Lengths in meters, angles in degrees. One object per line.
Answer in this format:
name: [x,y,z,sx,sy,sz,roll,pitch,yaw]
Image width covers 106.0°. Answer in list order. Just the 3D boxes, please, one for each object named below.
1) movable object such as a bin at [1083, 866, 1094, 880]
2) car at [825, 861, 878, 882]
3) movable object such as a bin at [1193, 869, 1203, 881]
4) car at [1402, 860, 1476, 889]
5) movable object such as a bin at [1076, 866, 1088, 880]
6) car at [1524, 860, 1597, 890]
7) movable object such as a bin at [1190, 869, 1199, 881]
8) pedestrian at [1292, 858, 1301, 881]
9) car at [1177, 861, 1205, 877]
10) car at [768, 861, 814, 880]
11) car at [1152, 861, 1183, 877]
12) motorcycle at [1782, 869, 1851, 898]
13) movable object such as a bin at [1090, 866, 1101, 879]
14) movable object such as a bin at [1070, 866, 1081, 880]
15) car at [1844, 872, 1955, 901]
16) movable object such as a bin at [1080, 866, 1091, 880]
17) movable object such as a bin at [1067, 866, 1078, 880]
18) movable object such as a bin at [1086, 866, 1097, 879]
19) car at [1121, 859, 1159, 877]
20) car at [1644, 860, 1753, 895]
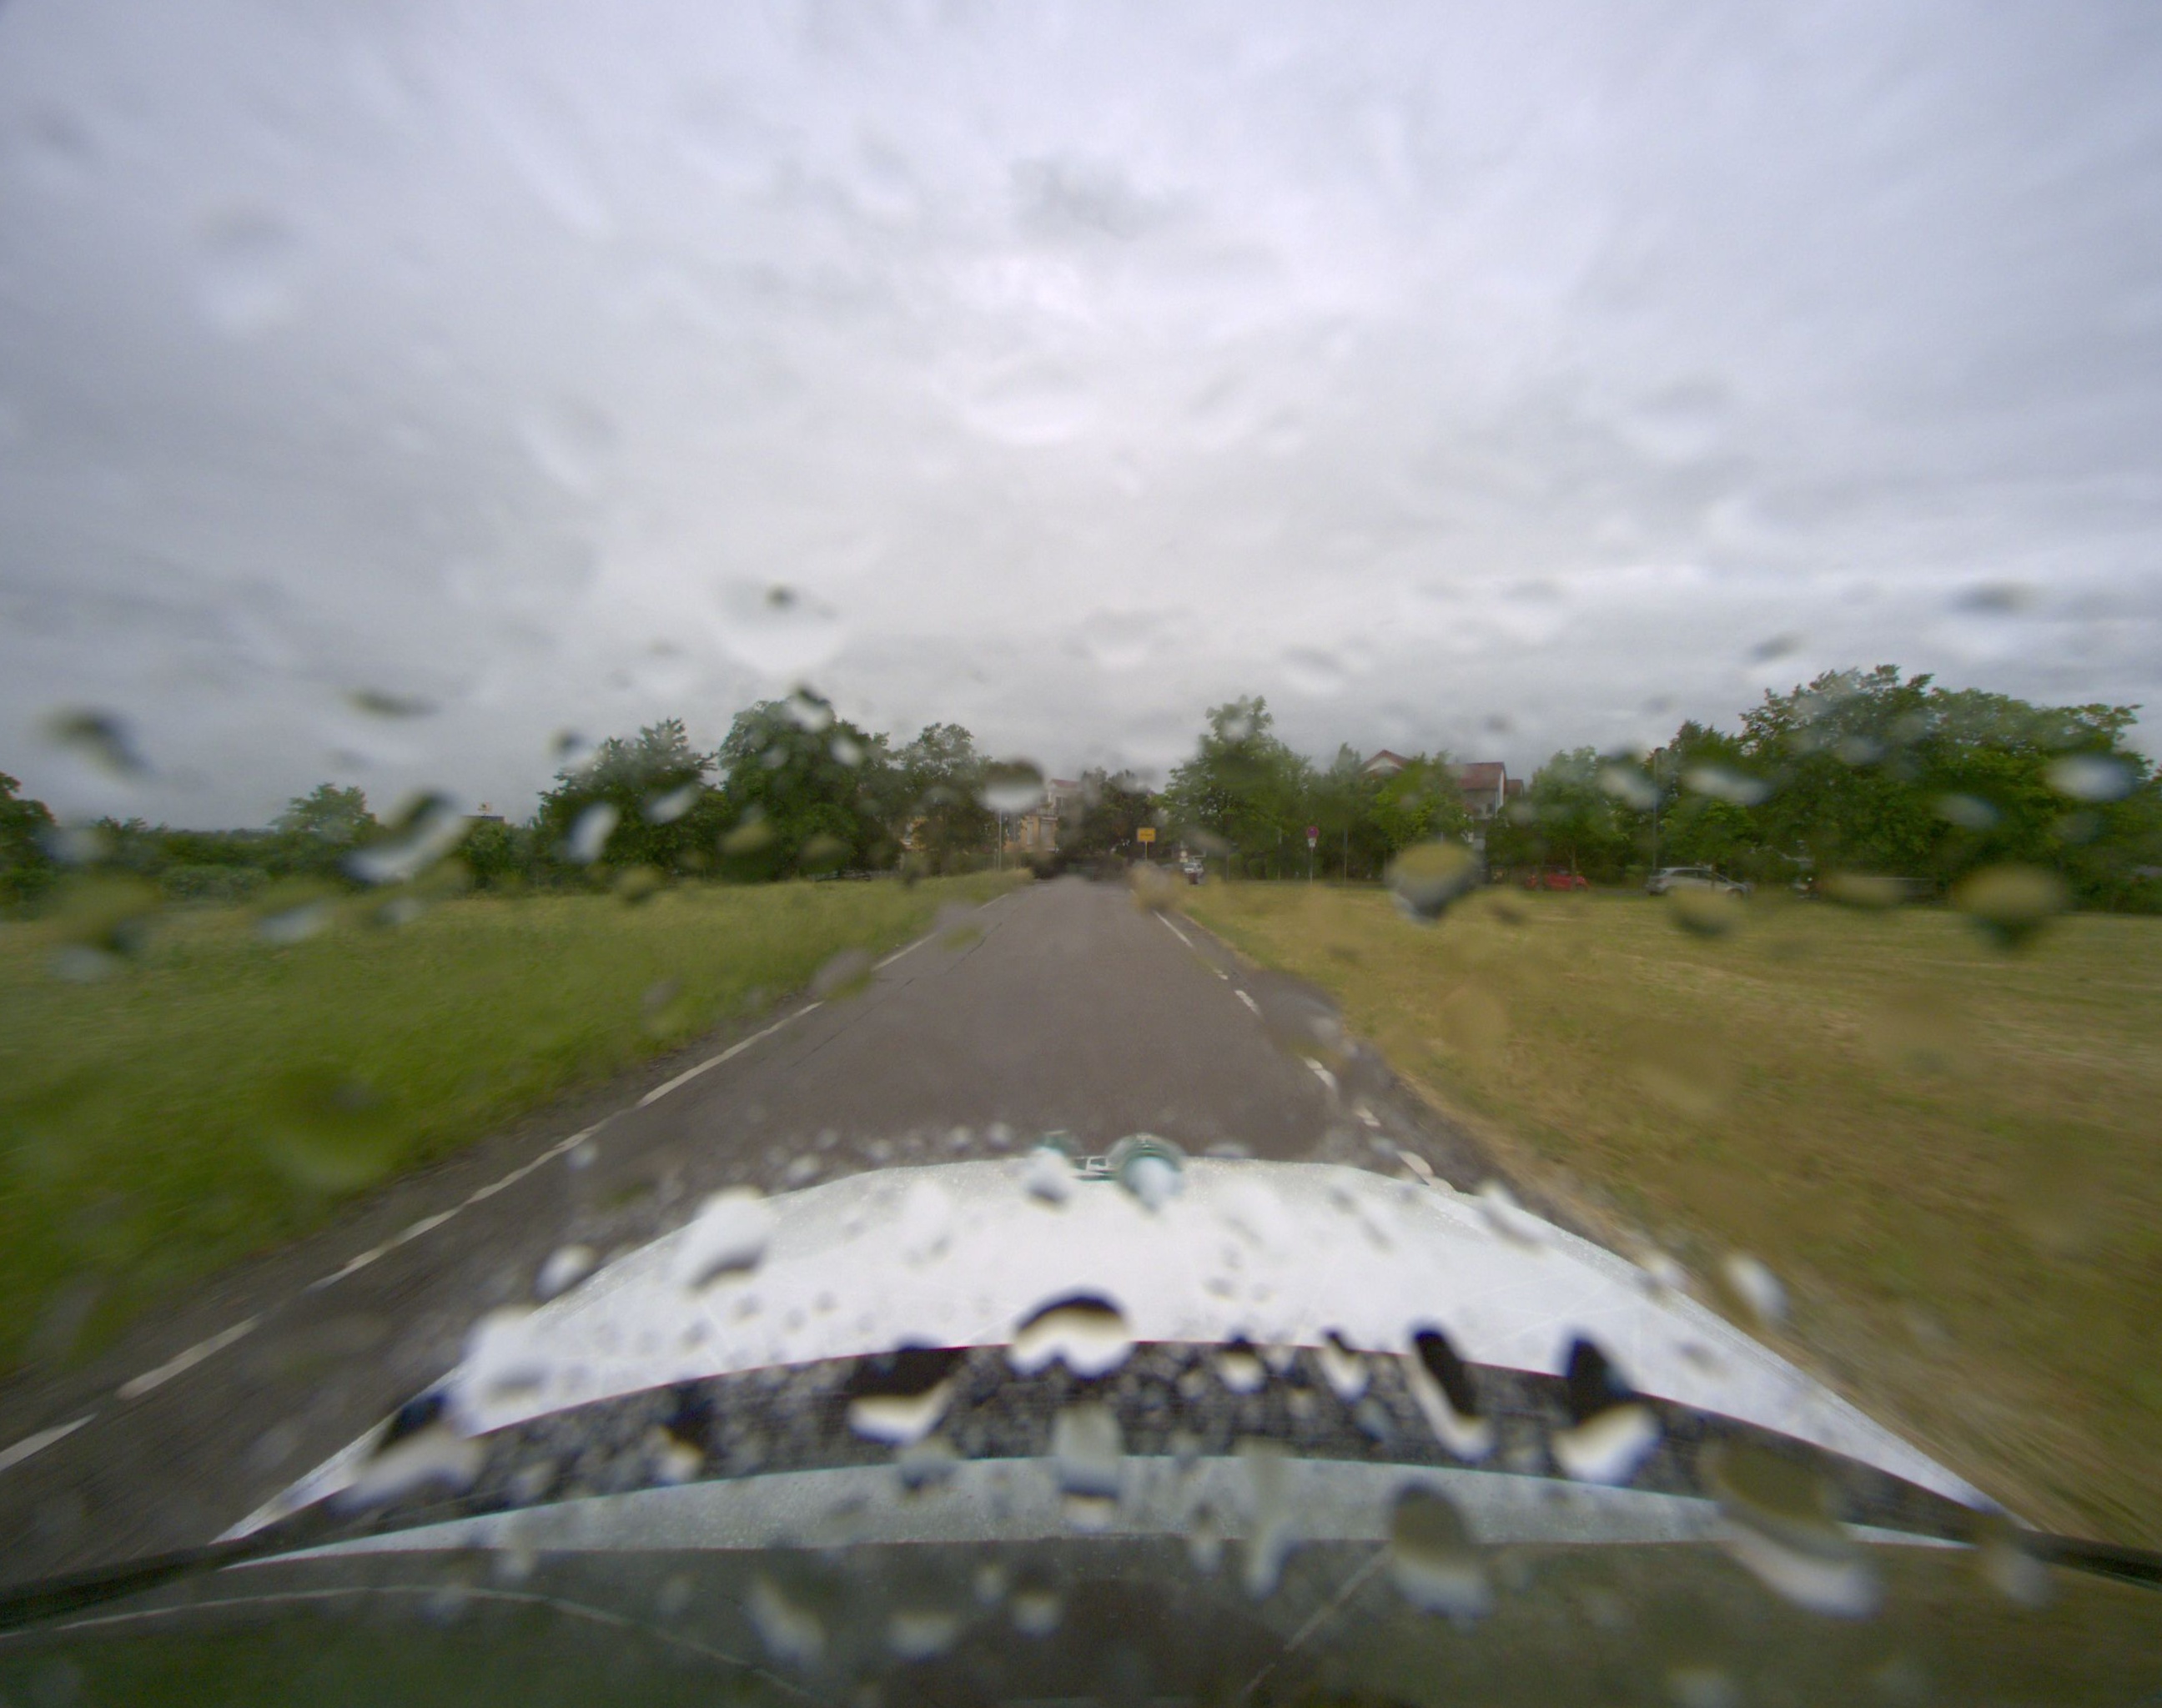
movable object such as a bin: [0.556,1.436,62.416,0.688,1.067,0.582,0,0,21]
car: [-17.104,1.280,60.593,3.649,1.552,1.702,0,-2,30]
movable object such as a bin: [9.387,1.669,65.360,0.565,0.931,0.533,0,-1,34]
car: [19.162,1.092,43.726,3.514,1.479,1.687,0,-2,18]
movable object such as a bin: [0.095,1.439,61.255,0.688,1.075,0.605,0,0,21]
car: [24.751,1.088,42.096,2.978,1.436,1.561,1,-1,18]
movable object such as a bin: [9.053,1.656,64.869,0.565,0.931,0.533,0,-1,34]
pedestrian: [19.186,1.386,72.506,0.552,2.014,0.528,-1,-1,35]
car: [11.106,1.504,82.192,1.496,1.476,3.294,2,0,32]
car: [-24.478,1.429,68.746,3.678,1.503,1.621,-3,-3,29]
car: [8.285,1.436,77.788,1.620,1.409,3.627,2,0,31]
motorcycle: [35.147,1.407,38.955,2.242,1.302,0.974,1,0,12]
movable object such as a bin: [1.125,1.432,63.656,0.688,1.055,0.608,0,0,21]
movable object such as a bin: [-0.394,1.432,62.049,0.688,1.072,0.601,0,0,21]
car: [38.715,1.511,38.595,3.295,1.281,1.739,1,-1,12]
movable object such as a bin: [0.325,1.438,61.834,0.688,1.075,0.546,0,0,21]
movable object such as a bin: [-0.616,1.439,61.484,0.659,1.073,0.546,0,0,22]
movable object such as a bin: [0.838,1.434,63.010,0.688,1.055,0.608,0,0,21]
car: [5.326,1.271,72.711,1.759,1.518,4.162,2,0,29]
car: [30.703,1.152,40.612,3.950,1.552,1.858,1,0,13]
